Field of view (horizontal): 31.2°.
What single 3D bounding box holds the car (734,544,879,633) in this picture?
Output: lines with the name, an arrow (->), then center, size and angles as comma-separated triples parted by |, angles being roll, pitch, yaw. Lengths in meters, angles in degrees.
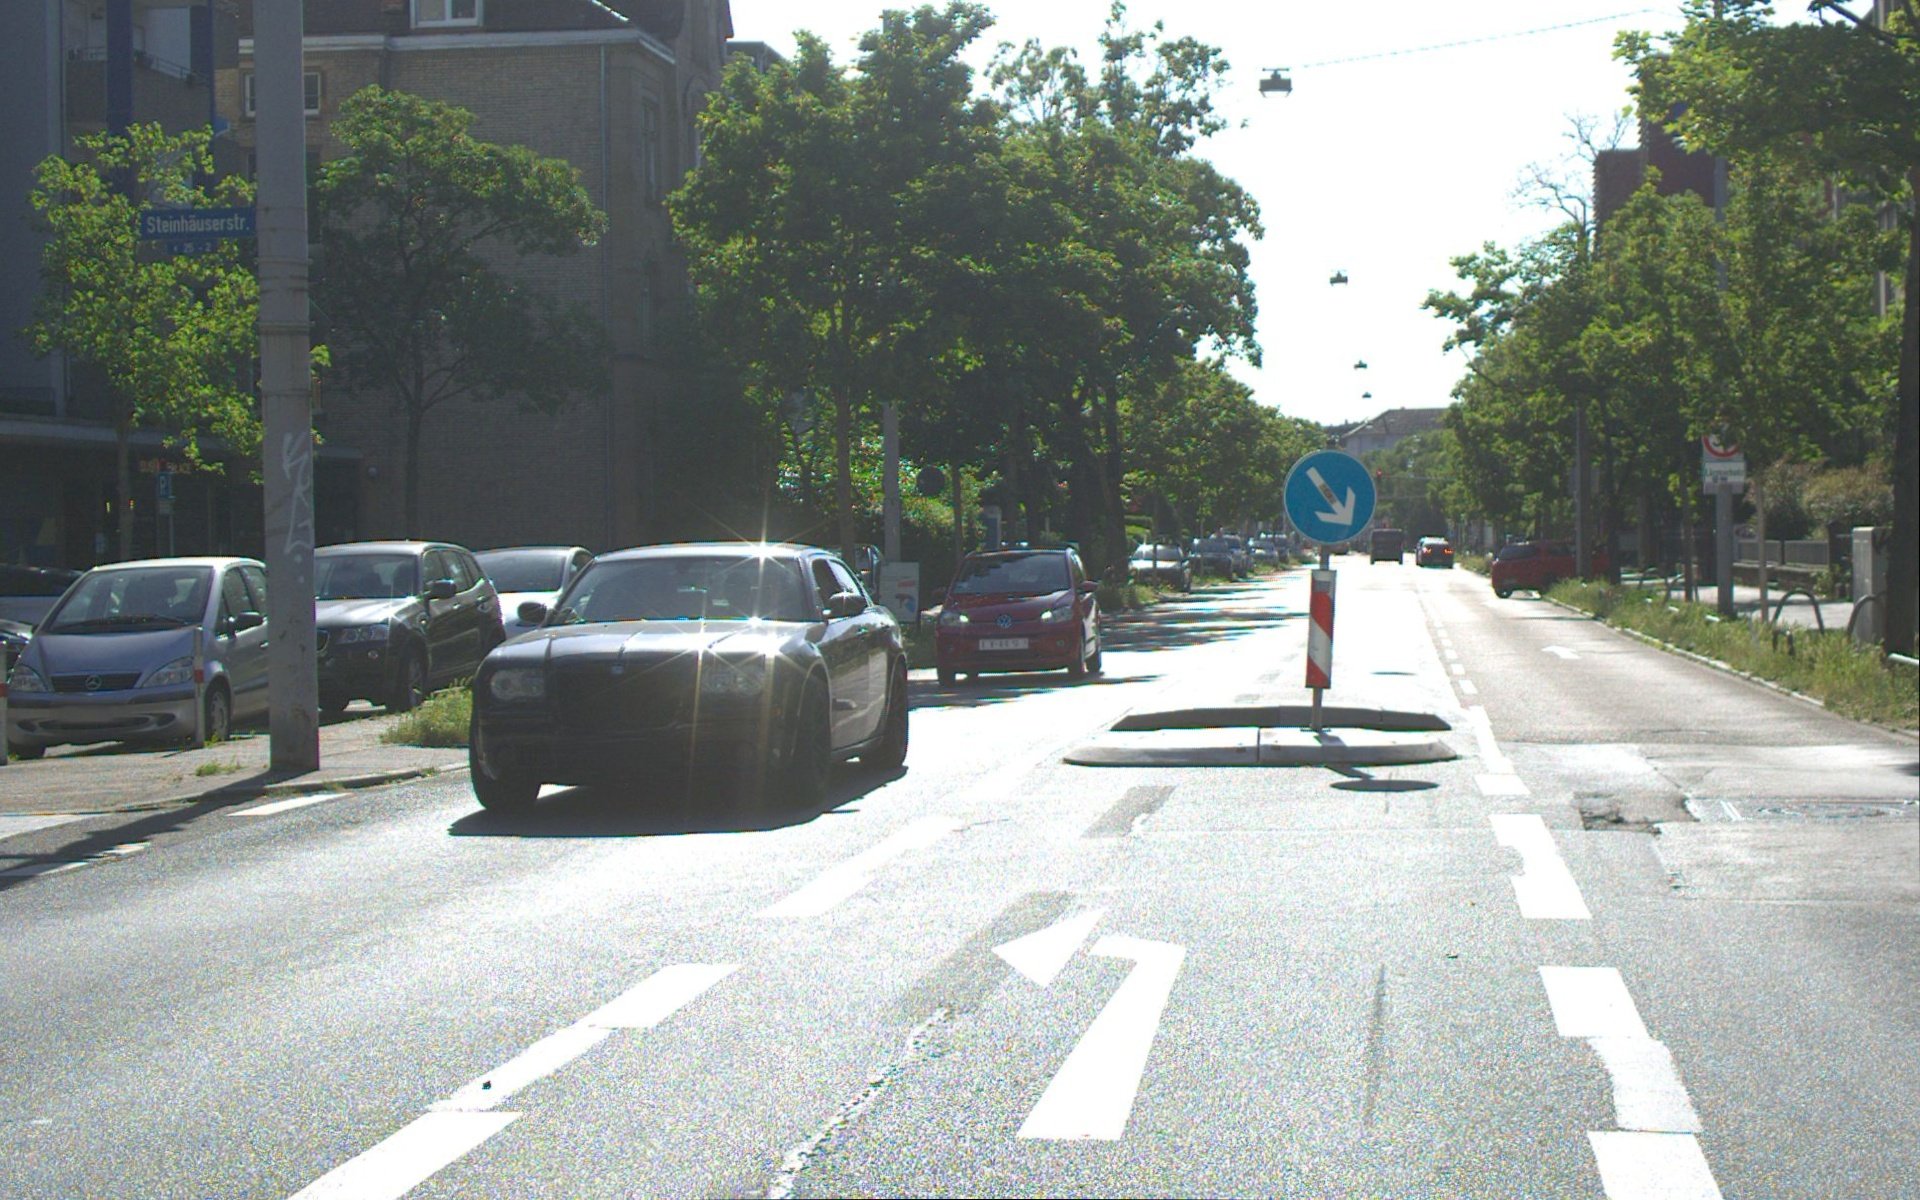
car -> -2.531, -0.211, 57.453 | 1.755, 1.393, 3.999 | -1, 1, 7

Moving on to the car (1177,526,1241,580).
car -> 9.672, -1.843, 133.322 | 2.062, 2.007, 4.627 | -1, 1, 9

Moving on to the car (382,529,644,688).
car -> -5.098, 0.051, 39.841 | 1.889, 1.656, 4.529 | -3, 1, 7

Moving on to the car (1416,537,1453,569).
car -> 26.130, -2.582, 189.214 | 1.952, 1.702, 3.999 | -1, 1, 8

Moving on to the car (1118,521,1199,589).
car -> 6.131, -1.395, 105.945 | 1.994, 2.007, 4.204 | -1, 1, 10

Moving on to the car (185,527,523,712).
car -> -5.754, 0.131, 33.216 | 1.869, 1.622, 4.503 | -1, 1, 8

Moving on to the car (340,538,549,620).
car -> -10.674, -0.442, 71.327 | 3.987, 1.624, 1.687 | -1, 1, 4

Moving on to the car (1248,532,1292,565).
car -> 16.429, -2.723, 182.002 | 1.994, 1.690, 3.999 | -1, 1, 10

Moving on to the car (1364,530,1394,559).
car -> 26.654, -3.520, 218.600 | 1.758, 1.777, 3.999 | -1, 1, 8

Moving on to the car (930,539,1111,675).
car -> 0.723, 0.049, 38.572 | 1.652, 1.423, 3.506 | -1, 1, 7

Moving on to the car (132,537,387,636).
car -> -12.063, -0.238, 59.370 | 3.987, 1.624, 1.687 | -1, 1, 4

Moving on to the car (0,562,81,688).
car -> -13.463, 0.326, 43.850 | 3.987, 1.546, 1.770 | -1, 1, 4

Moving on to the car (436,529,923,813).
car -> -1.499, 0.330, 20.233 | 1.866, 1.453, 4.592 | -1, 1, 8

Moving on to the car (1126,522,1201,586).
car -> 6.665, -1.508, 112.349 | 1.994, 2.007, 4.204 | -1, 1, 9

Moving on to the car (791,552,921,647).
car -> -1.865, -0.030, 62.821 | 1.763, 1.640, 3.999 | -1, 1, 7

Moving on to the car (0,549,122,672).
car -> -13.573, 0.147, 46.434 | 3.987, 1.602, 1.841 | -1, 1, 4

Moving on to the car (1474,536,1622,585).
car -> 15.643, -1.056, 91.369 | 3.989, 1.219, 1.802 | -2, 1, -43

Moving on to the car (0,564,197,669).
car -> -13.095, 0.236, 49.033 | 3.987, 1.420, 1.687 | -1, 1, 4

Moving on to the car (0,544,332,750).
car -> -6.467, 0.335, 28.106 | 1.719, 1.513, 3.531 | -2, 1, 5
